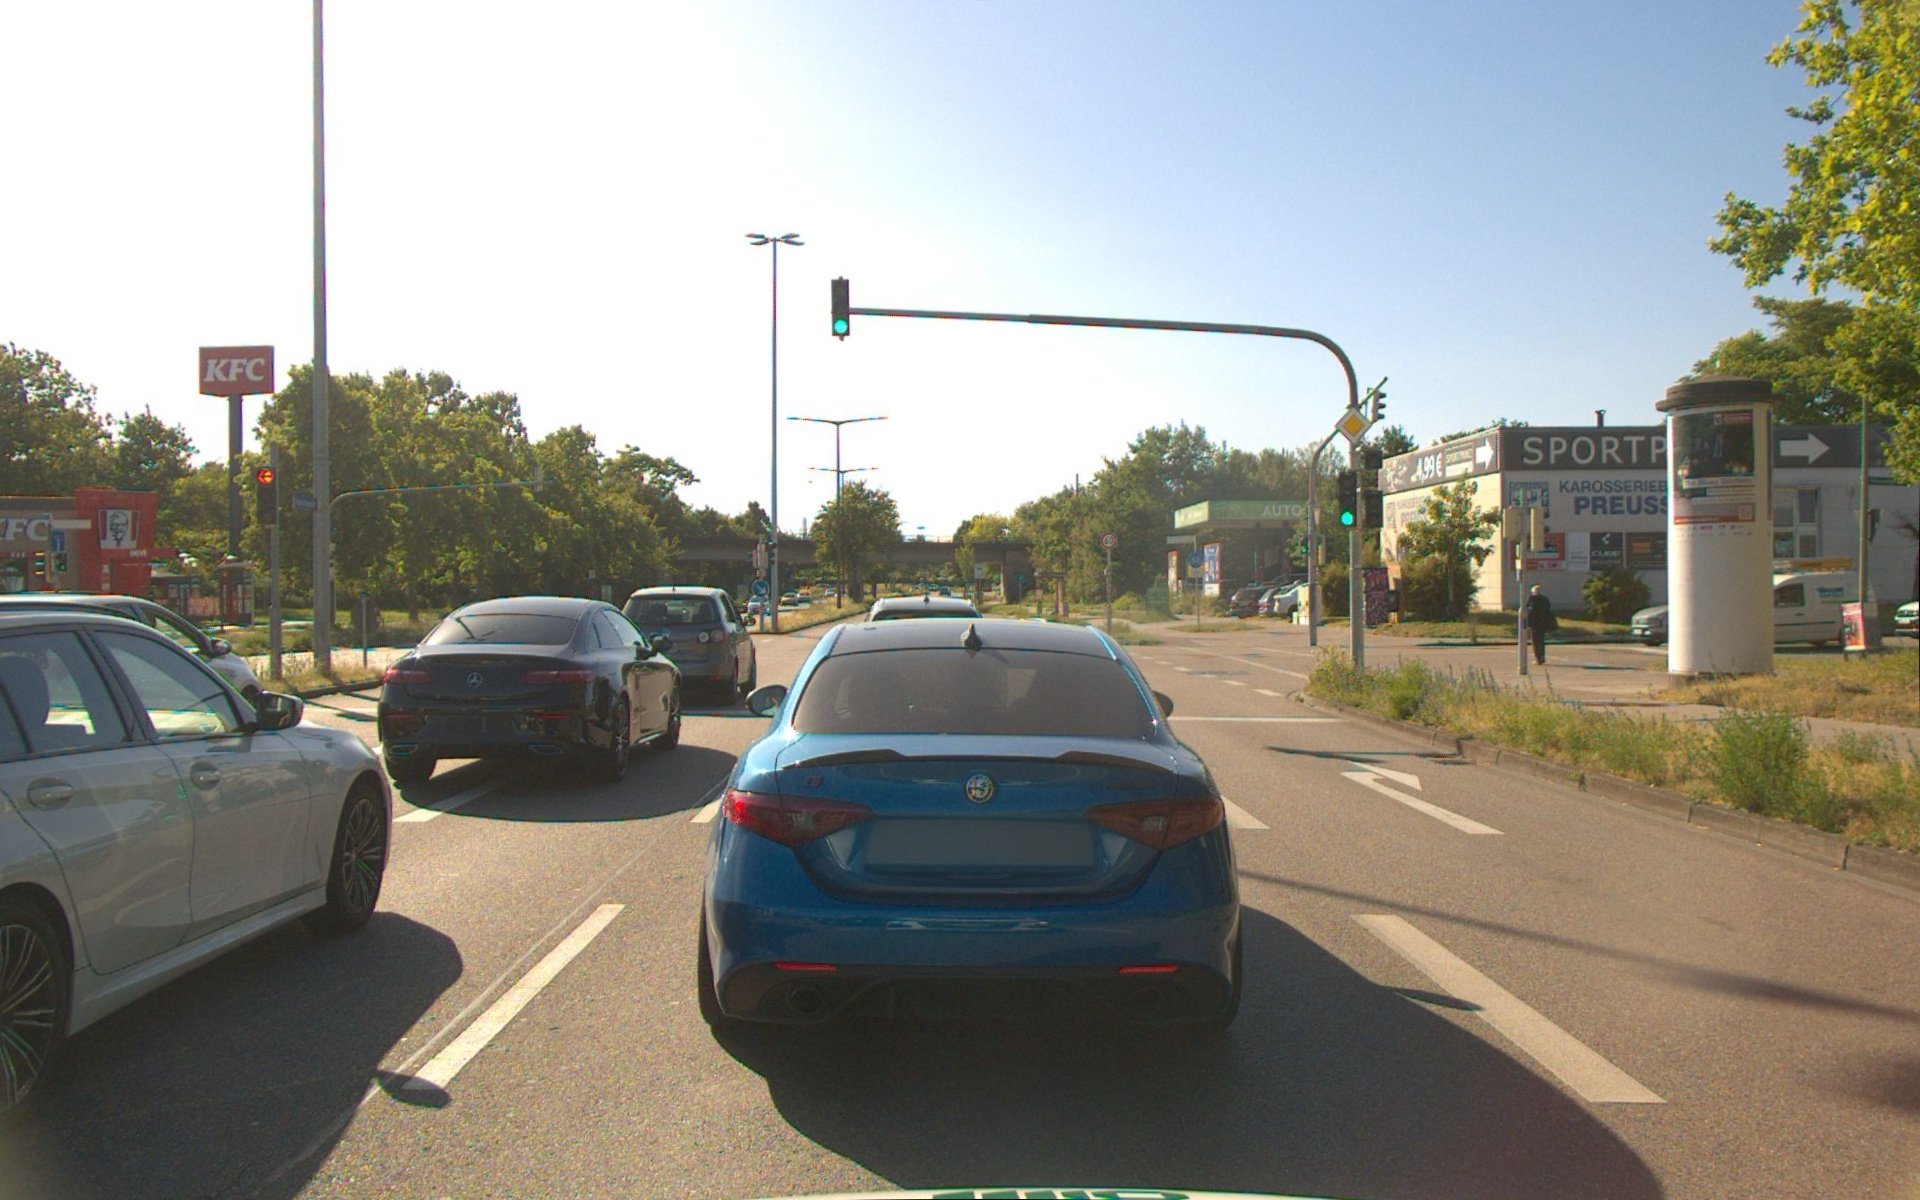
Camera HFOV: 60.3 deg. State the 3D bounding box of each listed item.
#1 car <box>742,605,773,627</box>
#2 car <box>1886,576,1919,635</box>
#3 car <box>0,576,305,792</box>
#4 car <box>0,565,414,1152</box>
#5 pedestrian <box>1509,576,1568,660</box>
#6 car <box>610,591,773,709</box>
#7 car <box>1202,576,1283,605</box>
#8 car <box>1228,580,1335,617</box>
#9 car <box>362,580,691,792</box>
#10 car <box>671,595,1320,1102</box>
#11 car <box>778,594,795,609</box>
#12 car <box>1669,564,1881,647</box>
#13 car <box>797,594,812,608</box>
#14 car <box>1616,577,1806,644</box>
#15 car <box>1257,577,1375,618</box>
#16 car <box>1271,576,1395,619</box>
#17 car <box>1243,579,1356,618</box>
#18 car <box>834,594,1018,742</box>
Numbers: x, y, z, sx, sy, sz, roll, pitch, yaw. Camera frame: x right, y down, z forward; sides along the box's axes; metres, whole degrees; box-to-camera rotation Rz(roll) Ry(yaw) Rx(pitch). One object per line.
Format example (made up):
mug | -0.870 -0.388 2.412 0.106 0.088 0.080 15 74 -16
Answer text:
car | -14.464 1.120 118.497 1.723 1.516 3.836 -2 0 -1
car | 26.888 0.080 43.601 3.960 1.516 1.782 -2 0 -3
car | -7.113 0.602 13.778 1.723 1.516 4.195 1 0 -2
car | -3.384 0.662 5.542 1.749 1.516 4.401 1 0 -2
pedestrian | 12.444 0.384 35.595 0.906 1.765 0.938 1 -1 -1
car | -3.750 0.673 23.773 1.723 1.516 4.401 1 0 -2
car | 16.656 -0.532 97.568 4.457 1.516 1.765 -2 0 1
car | 14.423 -0.077 74.318 4.397 1.479 1.858 -2 0 1
car | -3.507 0.644 14.255 1.760 1.516 4.474 1 0 -2
car | 0.044 0.739 6.978 1.857 1.443 4.401 1 0 -2
car | -19.500 0.176 185.578 1.583 1.586 3.357 1 0 -1
car | 19.634 0.111 39.943 4.293 1.833 1.764 -1 1 -2
car | -19.243 0.080 204.741 1.577 1.675 3.462 1 0 -1
car | 19.605 0.258 43.278 4.201 1.576 1.764 -1 2 -2
car | 14.535 -0.082 67.605 4.397 1.479 1.858 -2 0 1
car | 14.524 -0.106 64.515 4.397 1.479 1.858 -2 0 1
car | 14.441 -0.053 70.463 4.397 1.479 1.858 -2 0 1
car | -0.407 0.697 18.665 1.813 1.443 4.401 1 0 -2
